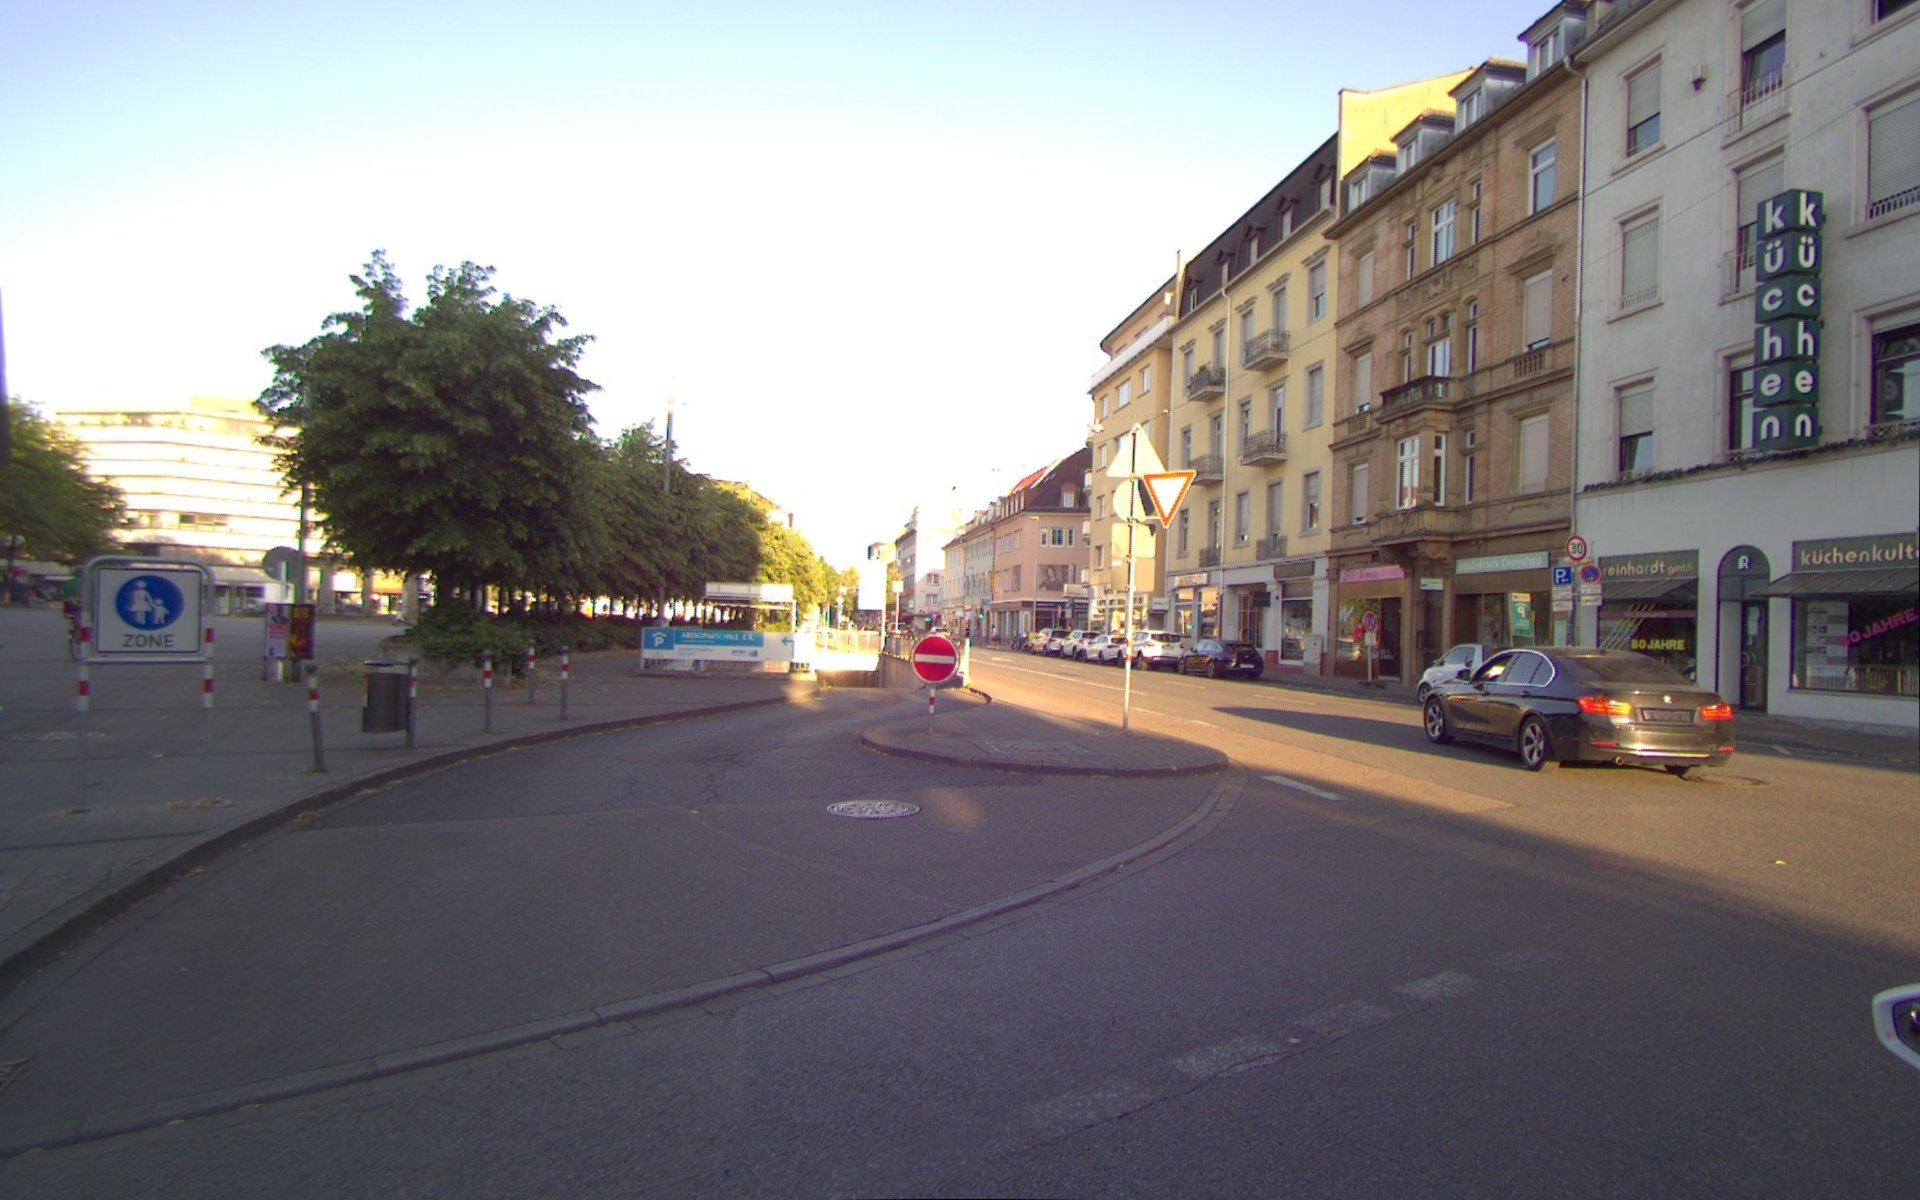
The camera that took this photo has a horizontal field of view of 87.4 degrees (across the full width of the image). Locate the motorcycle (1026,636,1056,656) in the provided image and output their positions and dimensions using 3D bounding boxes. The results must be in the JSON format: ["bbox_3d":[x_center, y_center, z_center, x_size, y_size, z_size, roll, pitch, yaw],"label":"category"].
[{"bbox_3d":[5.284,3.028,65.660,1.787,1.280,0.714,1,-1,-13],"label":"motorcycle"}]

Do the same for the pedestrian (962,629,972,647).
[{"bbox_3d":[0.733,3.895,102.848,0.747,1.800,1.045,3,-1,-15],"label":"pedestrian"}]

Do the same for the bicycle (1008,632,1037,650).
[{"bbox_3d":[4.258,2.817,68.971,1.858,1.127,0.600,3,-1,-13],"label":"bicycle"}]

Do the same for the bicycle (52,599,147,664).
[{"bbox_3d":[-15.940,0.567,18.670,0.941,1.116,2.309,3,-1,-32],"label":"bicycle"}]

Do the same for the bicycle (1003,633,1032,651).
[{"bbox_3d":[3.989,2.946,69.887,1.858,1.183,0.721,2,-1,-14],"label":"bicycle"}]

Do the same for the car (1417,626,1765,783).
[{"bbox_3d":[7.413,1.138,12.395,1.857,1.511,4.207,3,-2,5],"label":"car"}]

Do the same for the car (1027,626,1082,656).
[{"bbox_3d":[5.630,2.439,60.340,1.965,1.634,4.794,3,-2,-11],"label":"car"}]

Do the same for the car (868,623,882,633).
[{"bbox_3d":[-14.840,4.919,175.346,1.964,1.638,3.994,3,-2,-9],"label":"car"}]

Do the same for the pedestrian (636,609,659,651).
[{"bbox_3d":[-15.030,1.456,48.357,0.789,1.973,0.731,2,-1,3],"label":"pedestrian"}]

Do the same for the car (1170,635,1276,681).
[{"bbox_3d":[9.622,2.090,37.194,1.964,1.453,4.842,3,-1,-10],"label":"car"}]

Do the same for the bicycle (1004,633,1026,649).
[{"bbox_3d":[3.886,2.908,71.301,1.479,1.039,0.511,2,-1,-15],"label":"bicycle"}]

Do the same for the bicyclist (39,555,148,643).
[{"bbox_3d":[-15.872,-0.005,18.445,1.367,1.529,0.746,3,-1,-33],"label":"bicyclist"}]

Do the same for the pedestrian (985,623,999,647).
[{"bbox_3d":[2.398,2.652,75.687,0.784,1.743,0.809,3,-1,-17],"label":"pedestrian"}]

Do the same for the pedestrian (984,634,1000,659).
[{"bbox_3d":[2.332,3.390,72.786,0.863,1.743,0.752,3,-2,-35],"label":"pedestrian"}]

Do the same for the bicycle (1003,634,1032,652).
[{"bbox_3d":[4.067,3.021,70.721,1.858,1.127,0.760,3,-1,-14],"label":"bicycle"}]

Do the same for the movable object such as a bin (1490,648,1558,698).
[{"bbox_3d":[14.734,1.892,26.270,0.853,1.202,1.396,2,-1,-10],"label":"movable object such as a bin"}]

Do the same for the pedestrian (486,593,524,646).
[{"bbox_3d":[-17.835,0.767,39.407,0.896,2.040,0.919,2,-1,13],"label":"pedestrian"}]

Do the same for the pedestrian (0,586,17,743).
[{"bbox_3d":[-9.607,0.608,9.619,0.703,1.506,0.603,2,0,27],"label":"pedestrian"}]

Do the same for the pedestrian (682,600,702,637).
[{"bbox_3d":[-14.491,1.001,54.375,0.789,1.973,0.731,2,-1,3],"label":"pedestrian"}]

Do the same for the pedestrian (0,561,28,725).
[{"bbox_3d":[-10.710,0.454,10.845,0.675,1.769,0.715,2,0,27],"label":"pedestrian"}]

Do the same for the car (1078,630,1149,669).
[{"bbox_3d":[7.360,2.346,48.667,1.986,1.564,4.861,3,0,-9],"label":"car"}]

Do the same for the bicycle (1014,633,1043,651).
[{"bbox_3d":[4.617,2.859,67.641,1.858,1.127,0.592,3,-3,-13],"label":"bicycle"}]

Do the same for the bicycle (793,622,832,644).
[{"bbox_3d":[-9.436,2.136,64.318,2.397,1.253,0.516,4,-2,-12],"label":"bicycle"}]

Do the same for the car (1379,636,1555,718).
[{"bbox_3d":[11.983,1.776,24.054,1.675,1.606,3.993,2,0,-9],"label":"car"}]

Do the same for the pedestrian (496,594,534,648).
[{"bbox_3d":[-17.320,0.839,39.114,0.896,2.040,0.919,2,-1,13],"label":"pedestrian"}]

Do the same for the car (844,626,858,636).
[{"bbox_3d":[-16.987,4.838,156.383,1.856,1.505,3.995,3,-1,-8],"label":"car"}]

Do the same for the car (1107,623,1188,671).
[{"bbox_3d":[7.936,1.947,43.001,1.854,1.768,4.650,3,0,-10],"label":"car"}]

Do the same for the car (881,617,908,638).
[{"bbox_3d":[-5.856,2.411,89.231,1.964,1.773,3.993,3,-1,-10],"label":"car"}]

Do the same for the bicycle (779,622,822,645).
[{"bbox_3d":[-9.925,2.102,62.697,2.460,1.301,0.816,2,-1,11],"label":"bicycle"}]

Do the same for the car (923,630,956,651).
[{"bbox_3d":[-1.811,3.487,86.931,2.300,1.625,3.887,3,-1,-10],"label":"car"}]

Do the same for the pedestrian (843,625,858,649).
[{"bbox_3d":[-7.918,2.677,72.687,0.872,1.743,0.712,3,-1,-21],"label":"pedestrian"}]

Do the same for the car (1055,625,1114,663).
[{"bbox_3d":[6.654,2.333,54.196,1.840,1.785,4.399,3,0,-10],"label":"car"}]

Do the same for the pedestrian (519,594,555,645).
[{"bbox_3d":[-17.351,0.802,41.250,0.896,2.040,0.919,2,-1,13],"label":"pedestrian"}]

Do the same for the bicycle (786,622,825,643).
[{"bbox_3d":[-9.965,2.092,64.915,2.396,1.253,0.461,3,-1,-12],"label":"bicycle"}]
